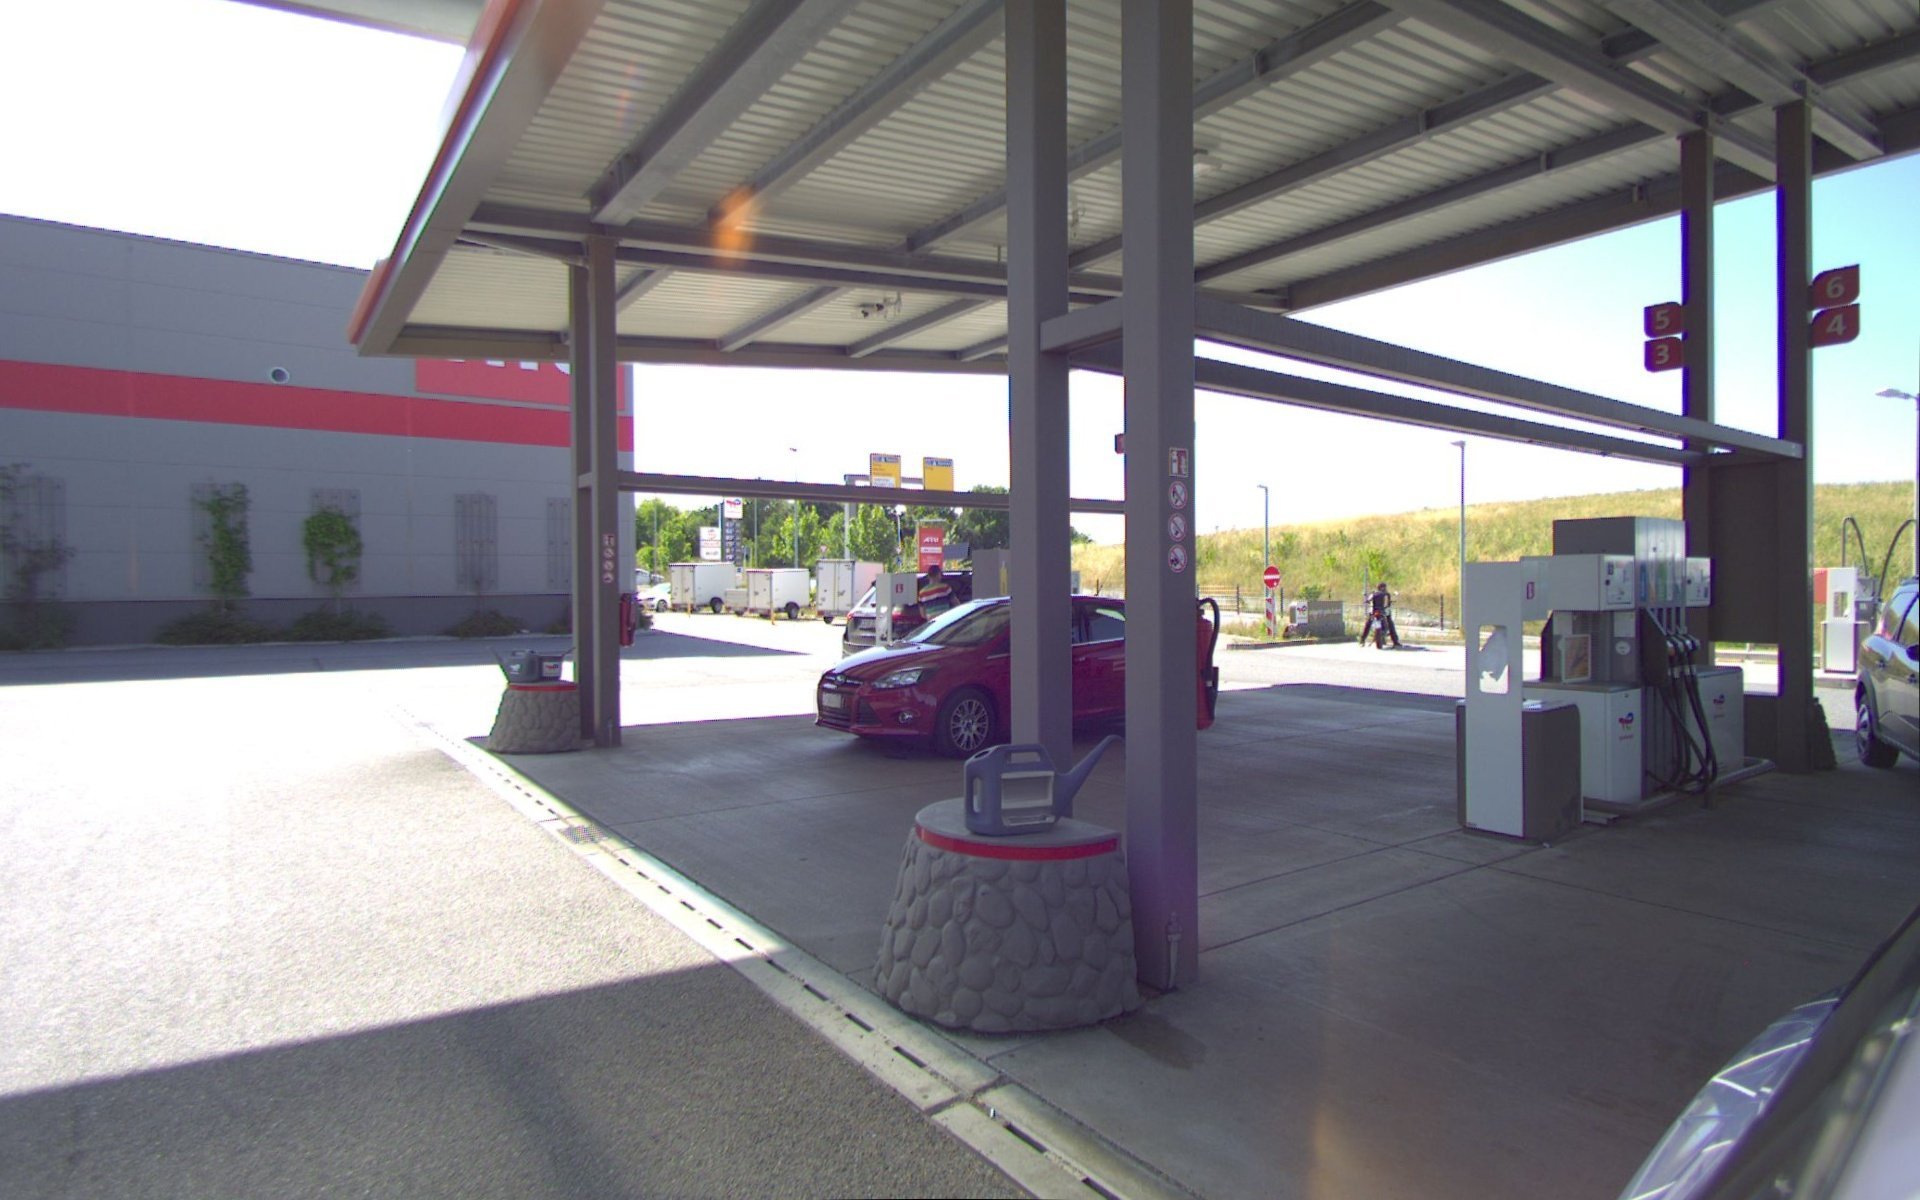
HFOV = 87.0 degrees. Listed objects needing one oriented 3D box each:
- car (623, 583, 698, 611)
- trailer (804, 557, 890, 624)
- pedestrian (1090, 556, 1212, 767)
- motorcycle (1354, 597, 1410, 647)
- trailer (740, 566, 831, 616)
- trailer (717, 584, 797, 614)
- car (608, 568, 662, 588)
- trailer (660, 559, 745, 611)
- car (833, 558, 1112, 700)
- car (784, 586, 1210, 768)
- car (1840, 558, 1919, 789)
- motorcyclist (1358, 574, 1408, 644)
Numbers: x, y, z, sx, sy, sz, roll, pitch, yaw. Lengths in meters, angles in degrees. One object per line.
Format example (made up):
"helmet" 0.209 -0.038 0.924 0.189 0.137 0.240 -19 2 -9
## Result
"car" -14.900 -0.192 50.526 1.661 1.334 3.810 1 1 20
"trailer" -4.299 -0.391 39.174 1.972 2.457 3.980 0 1 16
"pedestrian" 1.678 0.496 8.847 0.700 1.724 0.915 0 0 39
"motorcycle" 10.533 0.520 25.202 1.036 1.119 2.392 1 2 29
"trailer" -7.457 -0.405 43.555 1.787 2.039 3.959 0 1 29
"trailer" -9.063 -0.080 45.482 1.564 1.297 3.681 0 1 29
"car" -25.911 -1.745 80.806 3.918 1.562 1.734 0 1 -7
"trailer" -12.618 -0.751 49.828 1.980 2.457 3.964 1 1 26
"car" 0.376 0.369 15.873 2.022 1.874 4.735 1 0 36
"car" 0.493 0.602 10.189 4.154 1.487 1.703 0 1 -37
"car" 7.936 0.531 7.276 1.731 1.665 4.579 0 1 32
"motorcyclist" 10.503 0.203 25.129 1.025 1.709 1.088 0 1 29
